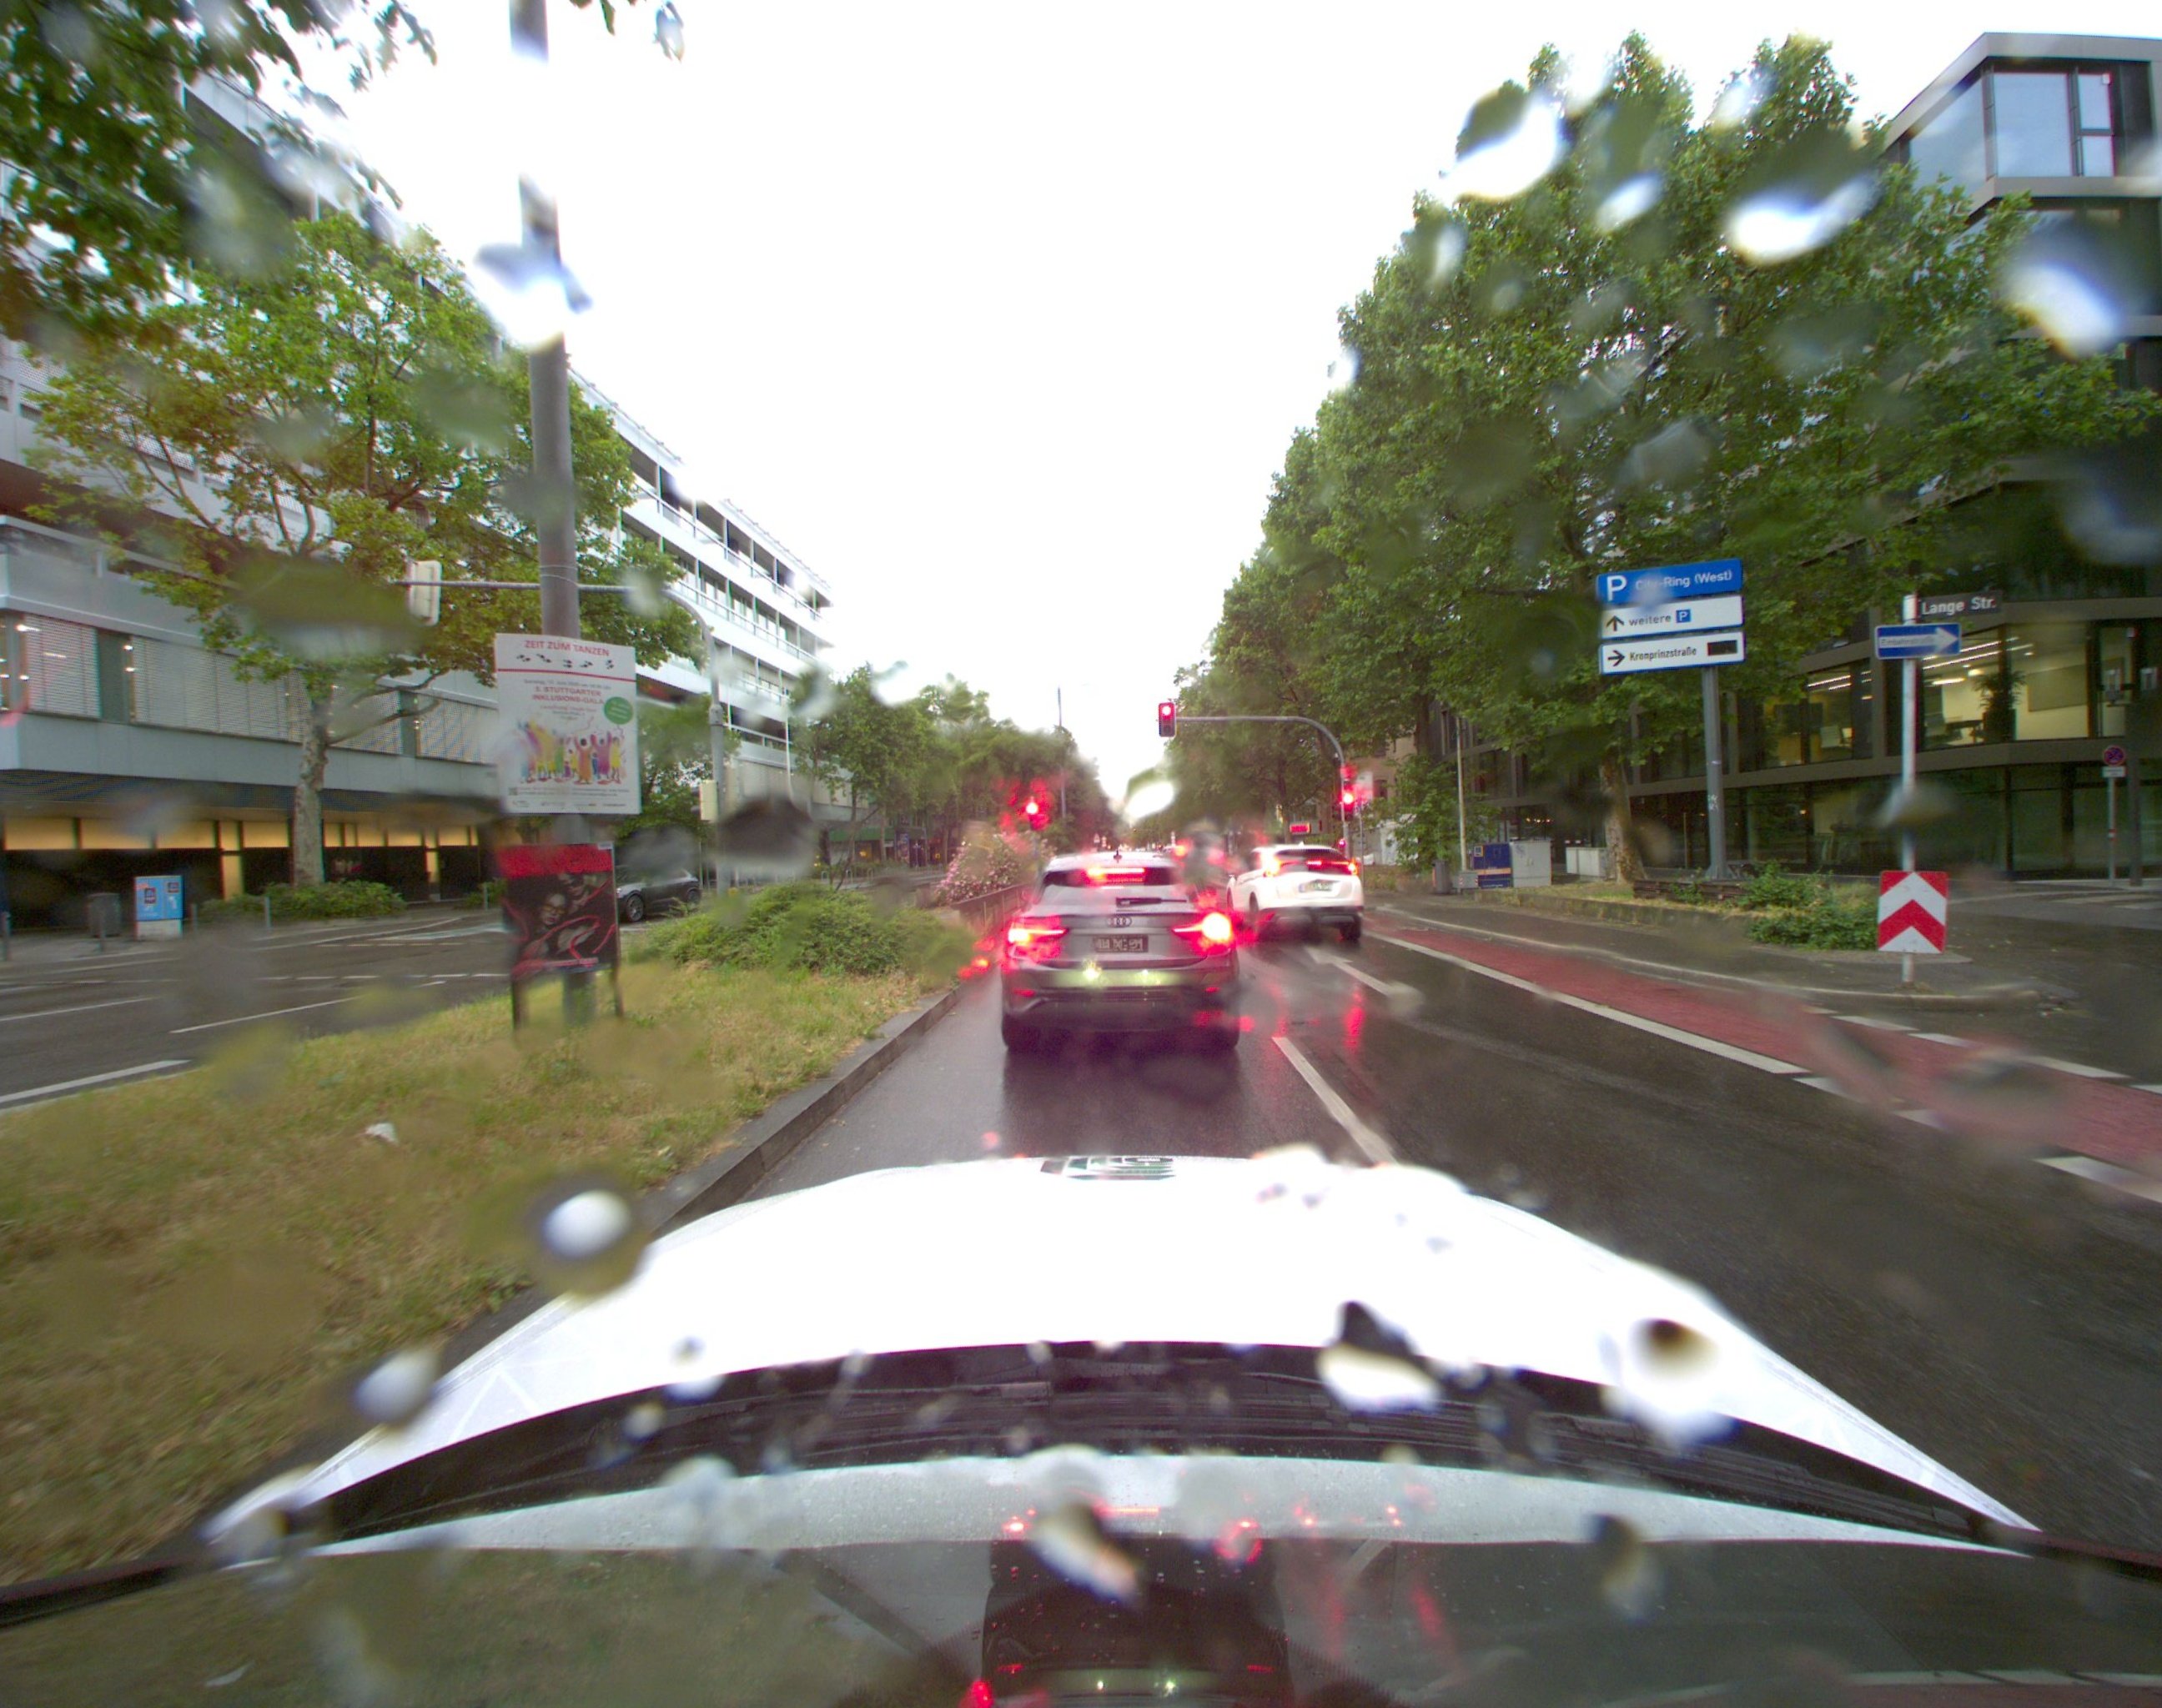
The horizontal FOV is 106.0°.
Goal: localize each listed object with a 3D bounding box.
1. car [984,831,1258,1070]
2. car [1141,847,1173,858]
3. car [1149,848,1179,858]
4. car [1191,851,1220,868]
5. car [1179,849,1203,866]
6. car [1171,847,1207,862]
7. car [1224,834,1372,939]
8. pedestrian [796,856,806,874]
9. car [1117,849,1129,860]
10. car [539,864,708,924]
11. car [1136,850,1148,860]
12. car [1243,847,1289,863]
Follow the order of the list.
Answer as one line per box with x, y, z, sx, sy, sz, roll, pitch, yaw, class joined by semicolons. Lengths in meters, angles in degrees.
0.334;0.665;7.582;1.842;1.602;4.002;-1;0;2;car
11.966;-0.248;128.699;4.594;1.706;2.012;-1;-1;30;car
14.356;-0.103;140.816;4.594;1.706;2.012;-1;-1;30;car
10.456;0.468;68.664;1.865;1.421;4.614;0;0;3;car
10.722;0.340;79.435;1.723;1.571;4.070;0;-1;-2;car
14.504;0.118;109.553;4.548;2.014;1.980;-1;-1;41;car
3.865;0.546;15.214;1.870;1.697;4.003;0;-1;3;car
-21.568;0.849;62.754;0.637;1.380;0.473;0;-1;-9;pedestrian
6.613;0.099;129.341;1.889;1.599;3.940;0;-1;2;car
-13.304;1.093;24.109;1.900;1.584;4.755;0;-1;6;car
10.325;0.237;138.533;1.985;1.651;4.003;0;-1;3;car
13.313;0.077;58.651;2.856;1.074;1.465;-1;-1;33;car
